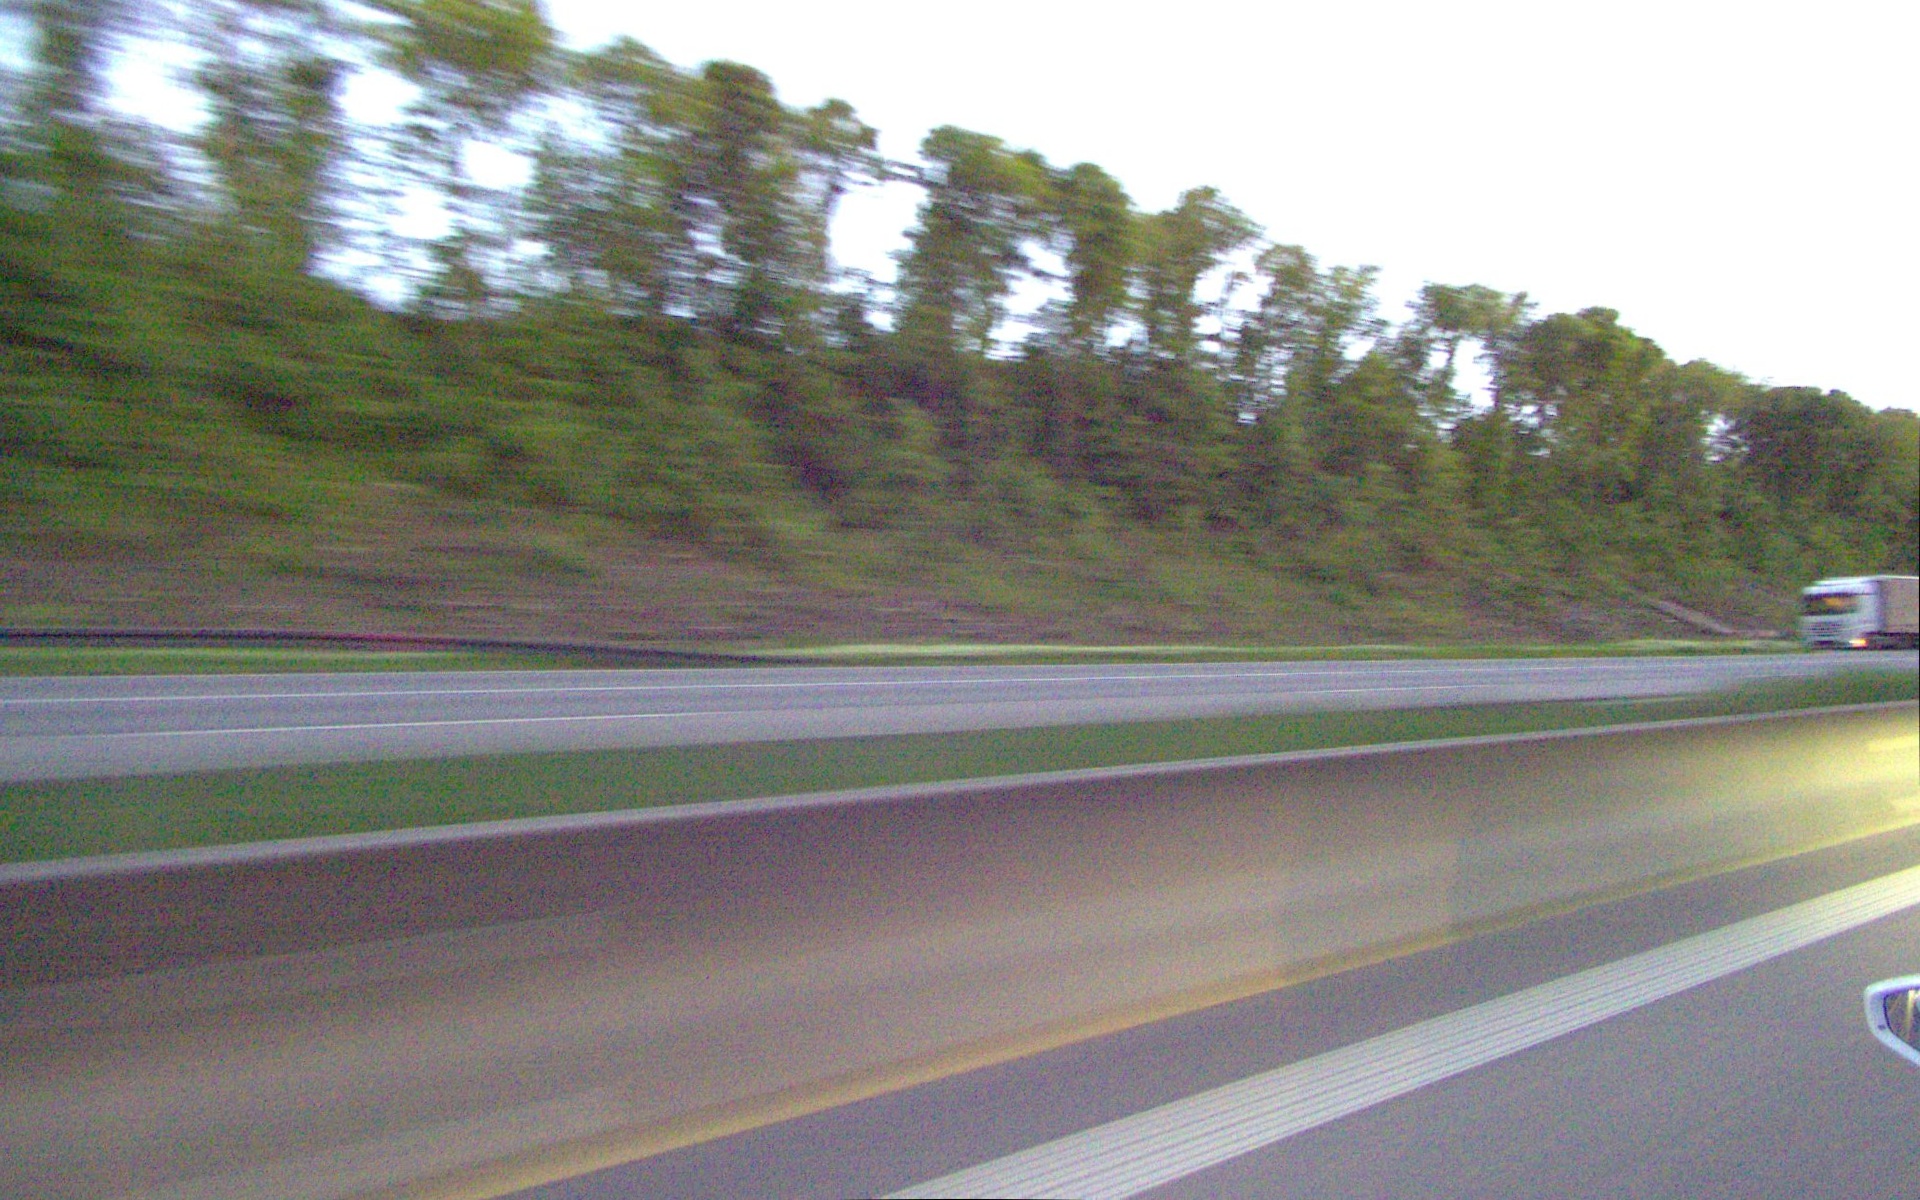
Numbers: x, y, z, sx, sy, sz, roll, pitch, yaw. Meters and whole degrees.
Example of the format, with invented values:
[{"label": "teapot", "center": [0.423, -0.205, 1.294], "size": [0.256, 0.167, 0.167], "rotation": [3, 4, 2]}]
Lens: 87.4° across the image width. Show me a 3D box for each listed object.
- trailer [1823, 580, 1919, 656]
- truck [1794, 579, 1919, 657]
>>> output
[{"label": "trailer", "center": [56.420, 1.162, 59.467], "size": [13.563, 4.159, 3.179], "rotation": [2, 0, -27]}, {"label": "truck", "center": [50.913, 1.049, 56.639], "size": [7.589, 4.159, 3.180], "rotation": [2, 0, -27]}]
